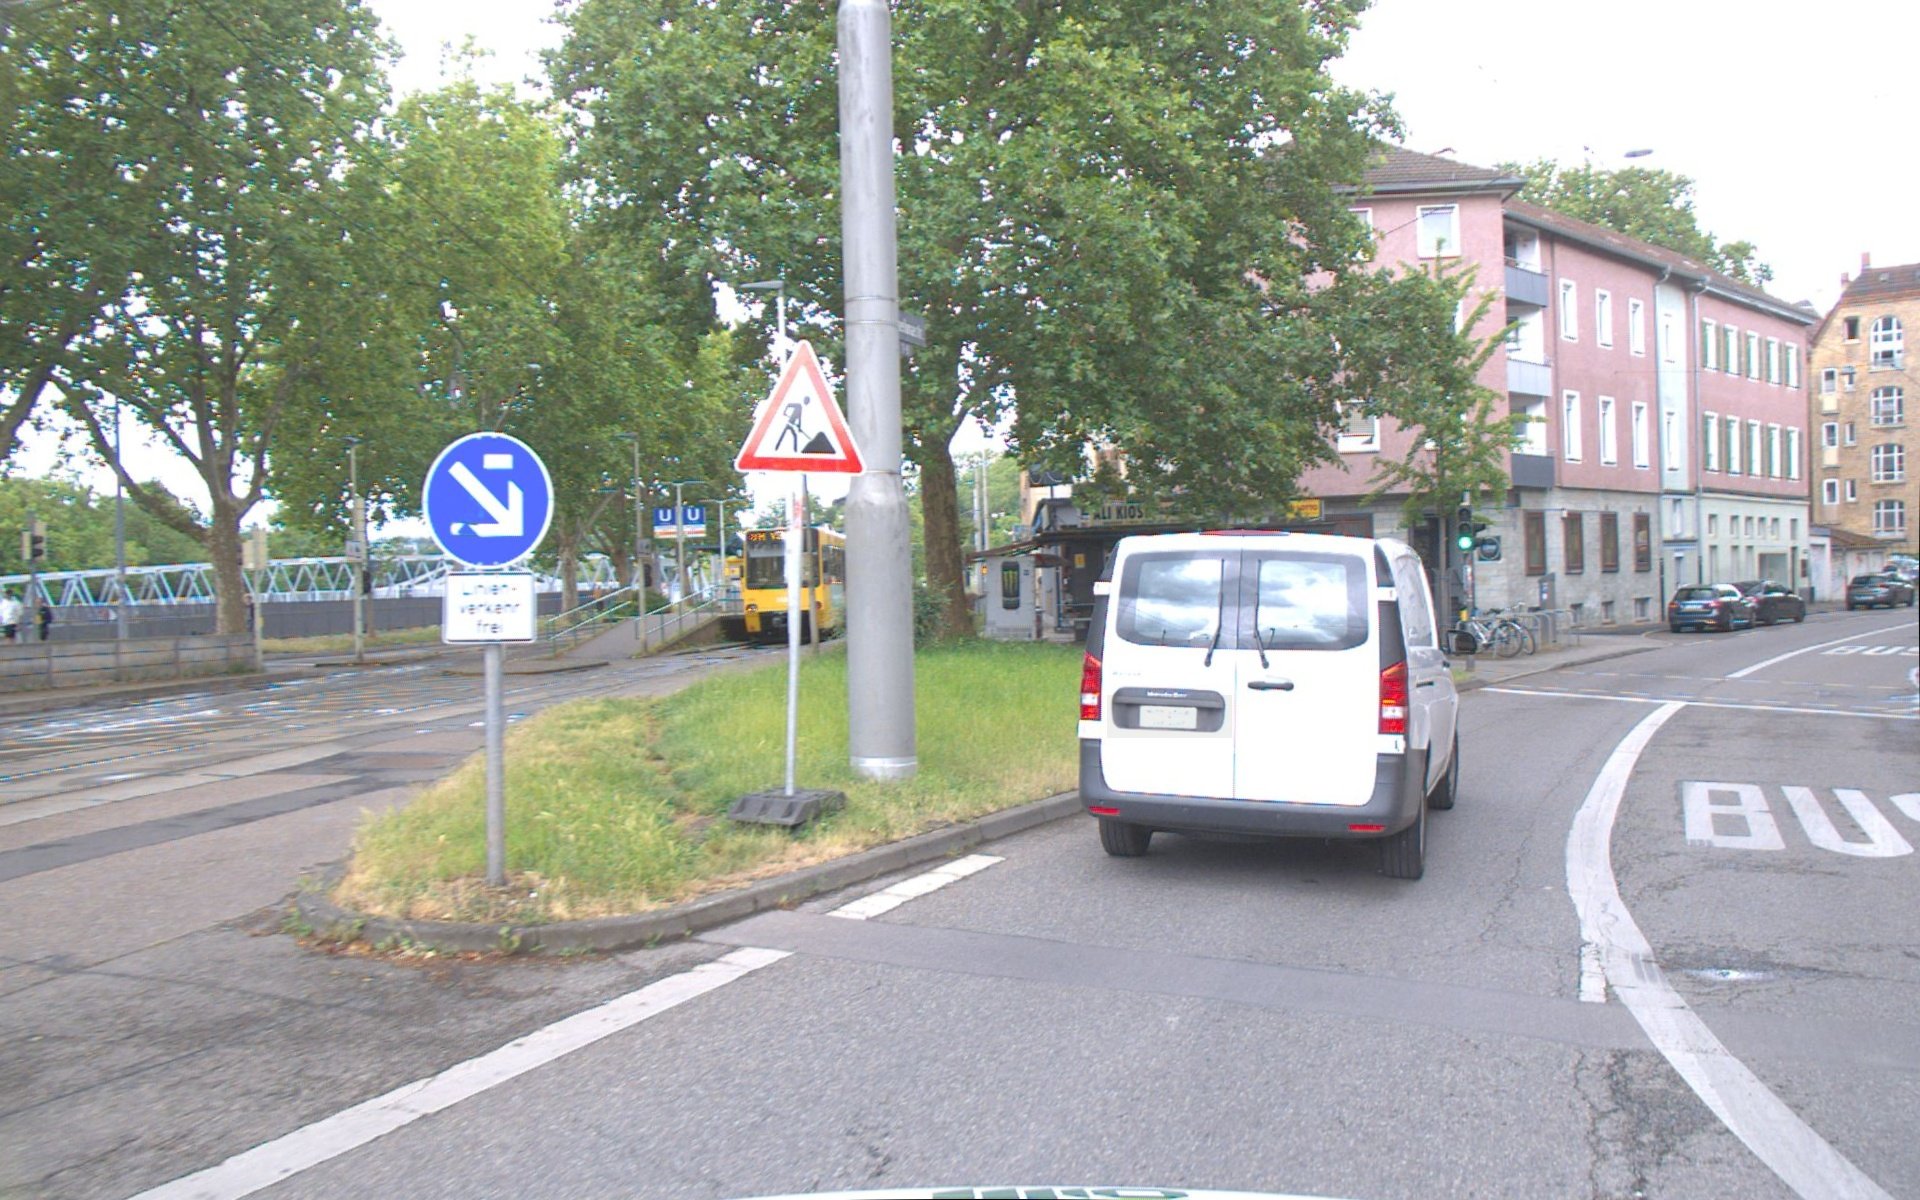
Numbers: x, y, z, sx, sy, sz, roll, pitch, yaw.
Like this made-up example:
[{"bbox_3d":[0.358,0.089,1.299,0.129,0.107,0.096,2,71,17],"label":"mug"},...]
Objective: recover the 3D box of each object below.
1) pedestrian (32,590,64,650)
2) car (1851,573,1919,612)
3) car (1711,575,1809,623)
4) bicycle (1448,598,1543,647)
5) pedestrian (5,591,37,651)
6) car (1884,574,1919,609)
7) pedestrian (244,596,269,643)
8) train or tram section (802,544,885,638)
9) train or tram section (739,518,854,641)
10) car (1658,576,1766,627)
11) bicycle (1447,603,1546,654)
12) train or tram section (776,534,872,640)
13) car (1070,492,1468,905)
[{"bbox_3d":[-22.982,0.500,41.679,0.462,1.476,0.511,-2,-1,-1],"label":"pedestrian"},{"bbox_3d":[37.825,-0.326,67.293,1.963,1.422,3.978,-4,-2,40],"label":"car"},{"bbox_3d":[26.543,-0.046,54.820,1.963,1.422,3.978,-4,-2,40],"label":"car"},{"bbox_3d":[11.792,0.499,36.465,1.954,1.053,0.563,-1,-1,15],"label":"bicycle"},{"bbox_3d":[-23.573,0.535,41.530,0.462,1.476,0.511,-2,-1,-1],"label":"pedestrian"},{"bbox_3d":[41.693,-0.420,71.855,1.963,1.422,3.978,-4,-2,40],"label":"car"},{"bbox_3d":[-23.500,0.664,55.246,0.533,1.524,0.644,-2,-1,-1],"label":"pedestrian"},{"bbox_3d":[-4.699,-0.275,68.152,2.526,3.511,7.757,-3,-1,1],"label":"train or tram section"},{"bbox_3d":[-5.070,-0.525,52.576,2.526,3.511,7.757,-3,-1,1],"label":"train or tram section"},{"bbox_3d":[23.204,0.033,50.962,1.963,1.422,3.978,-4,-2,40],"label":"car"},{"bbox_3d":[11.422,0.609,35.274,1.954,1.053,0.563,-1,-1,15],"label":"bicycle"},{"bbox_3d":[-4.843,-0.380,60.353,2.526,3.511,7.757,-3,-1,1],"label":"train or tram section"},{"bbox_3d":[2.234,0.524,10.736,1.910,2.049,4.700,-1,-1,18],"label":"car"}]
